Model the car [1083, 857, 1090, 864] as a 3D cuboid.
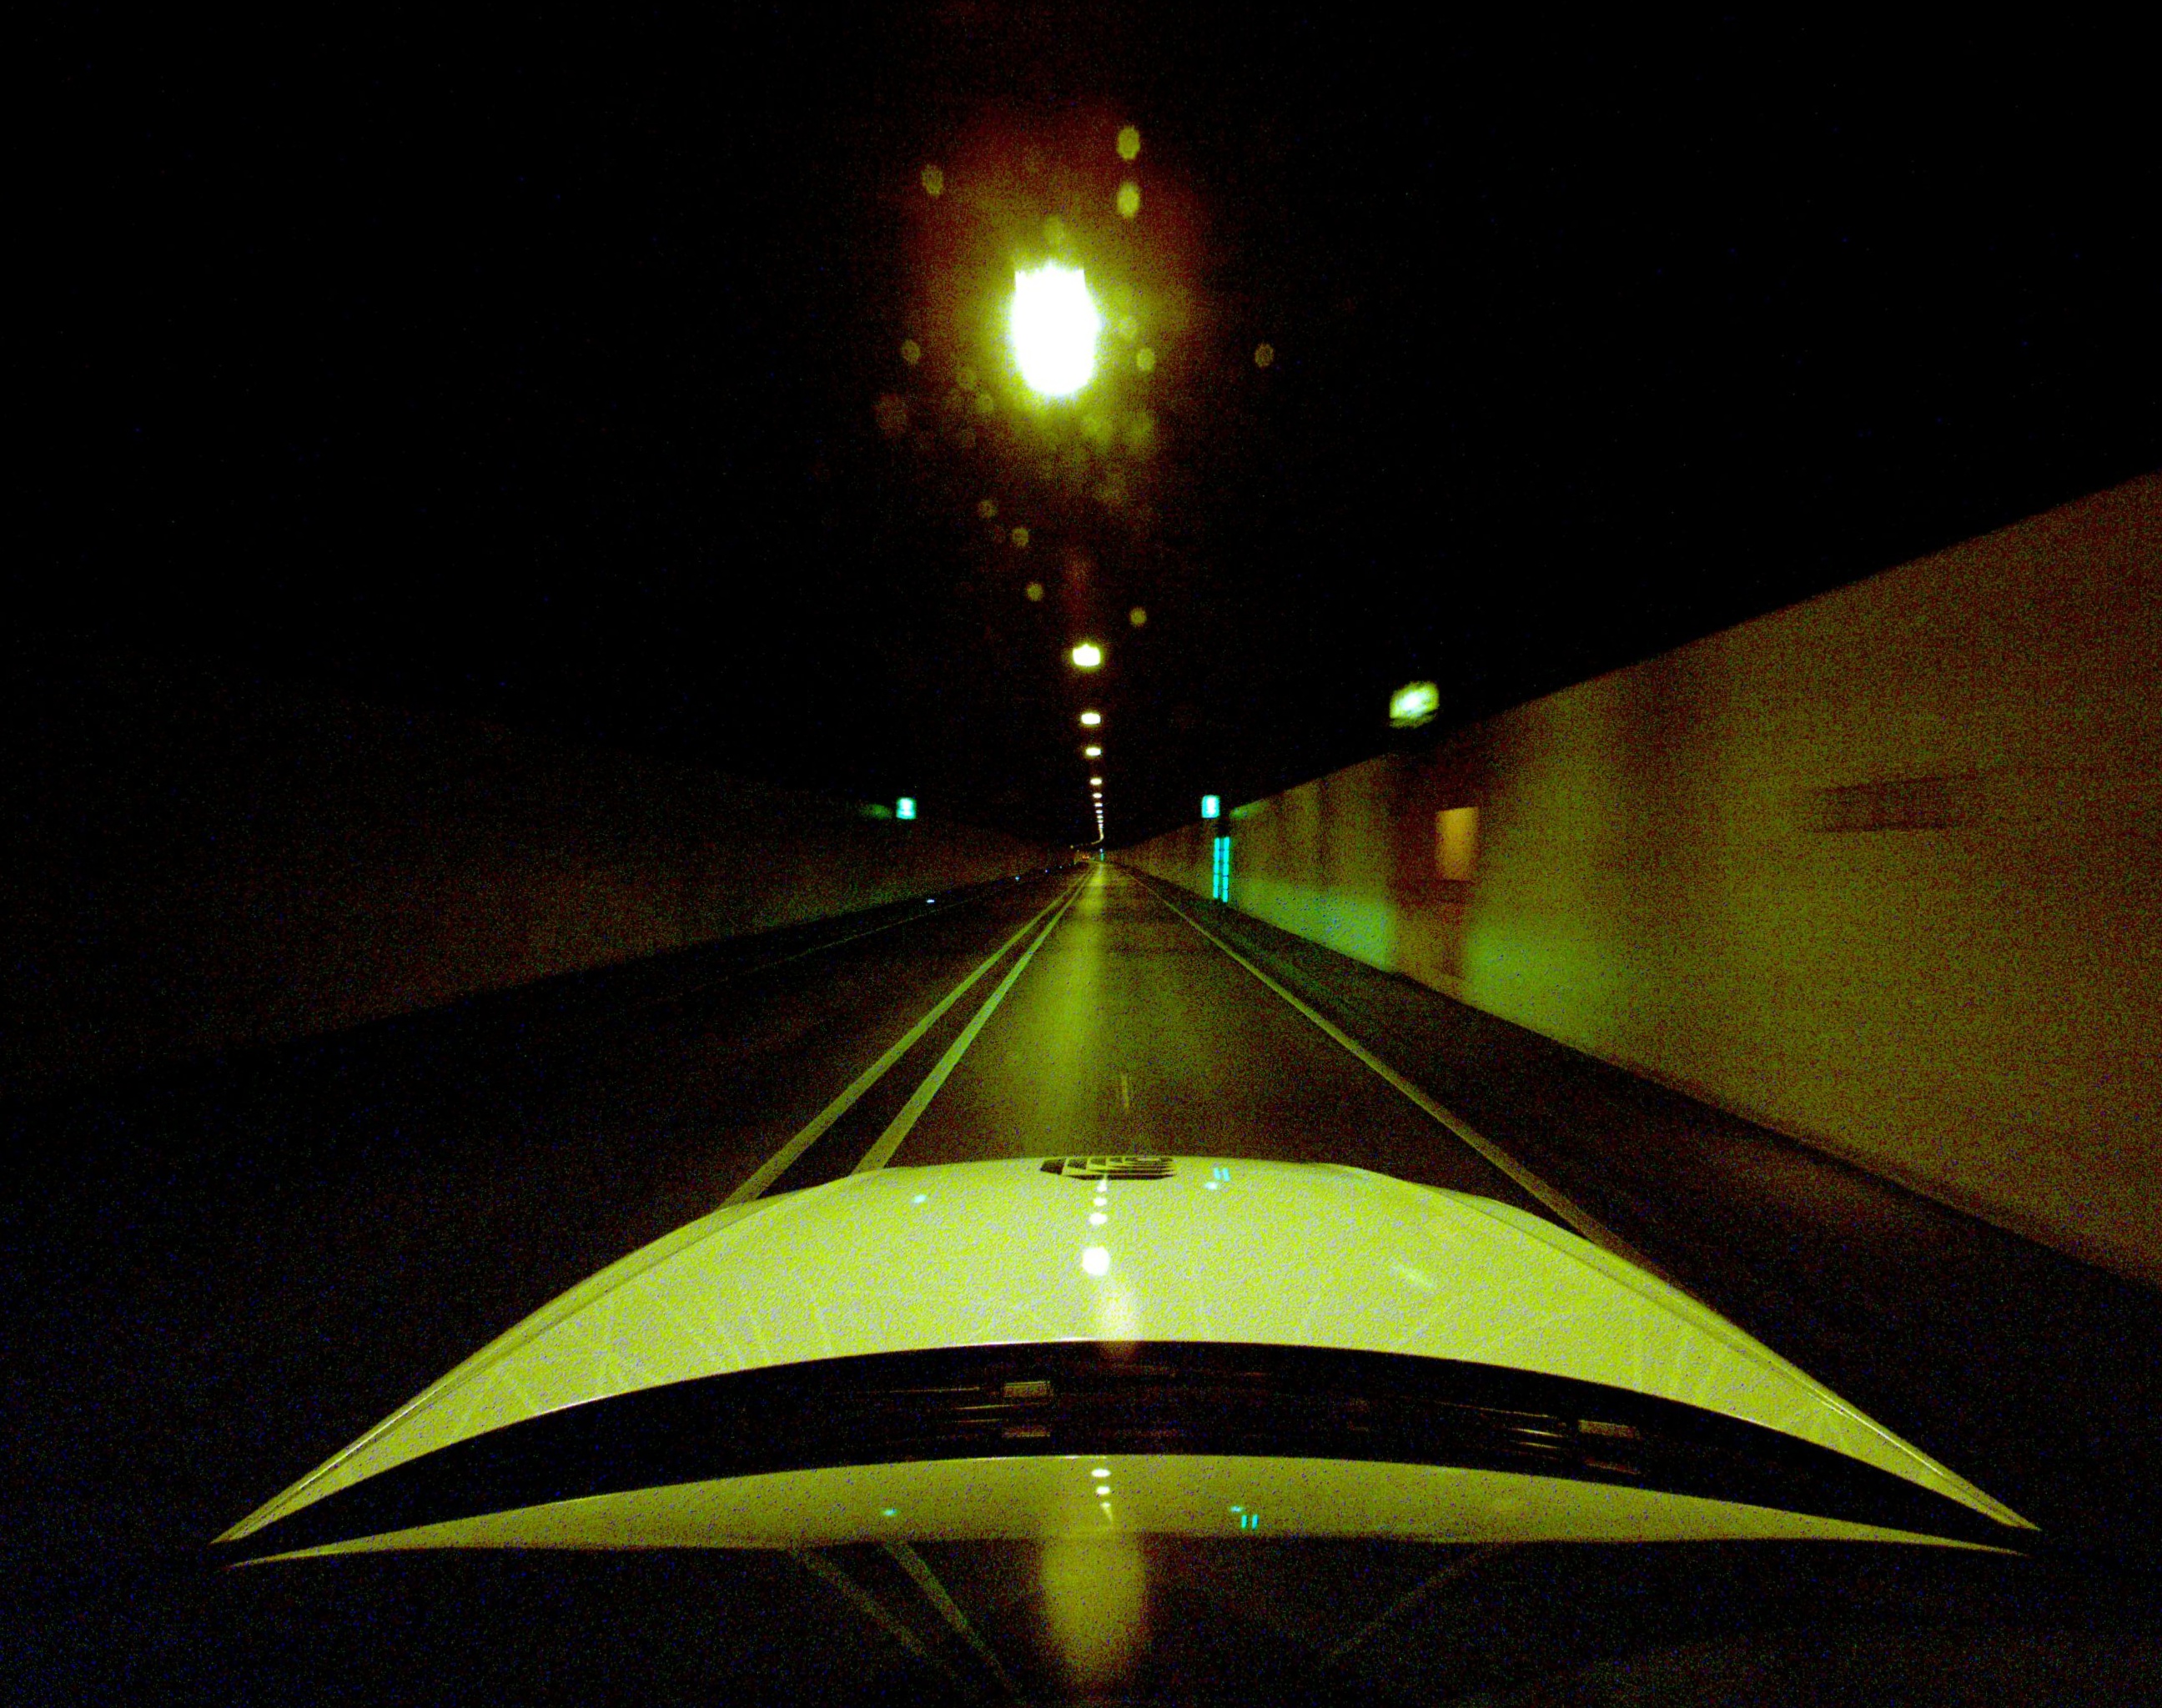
[{"bbox_3d":[1.662,1.855,244.374,1.962,1.939,4.607,1,-1,-3],"label":"car"}]
